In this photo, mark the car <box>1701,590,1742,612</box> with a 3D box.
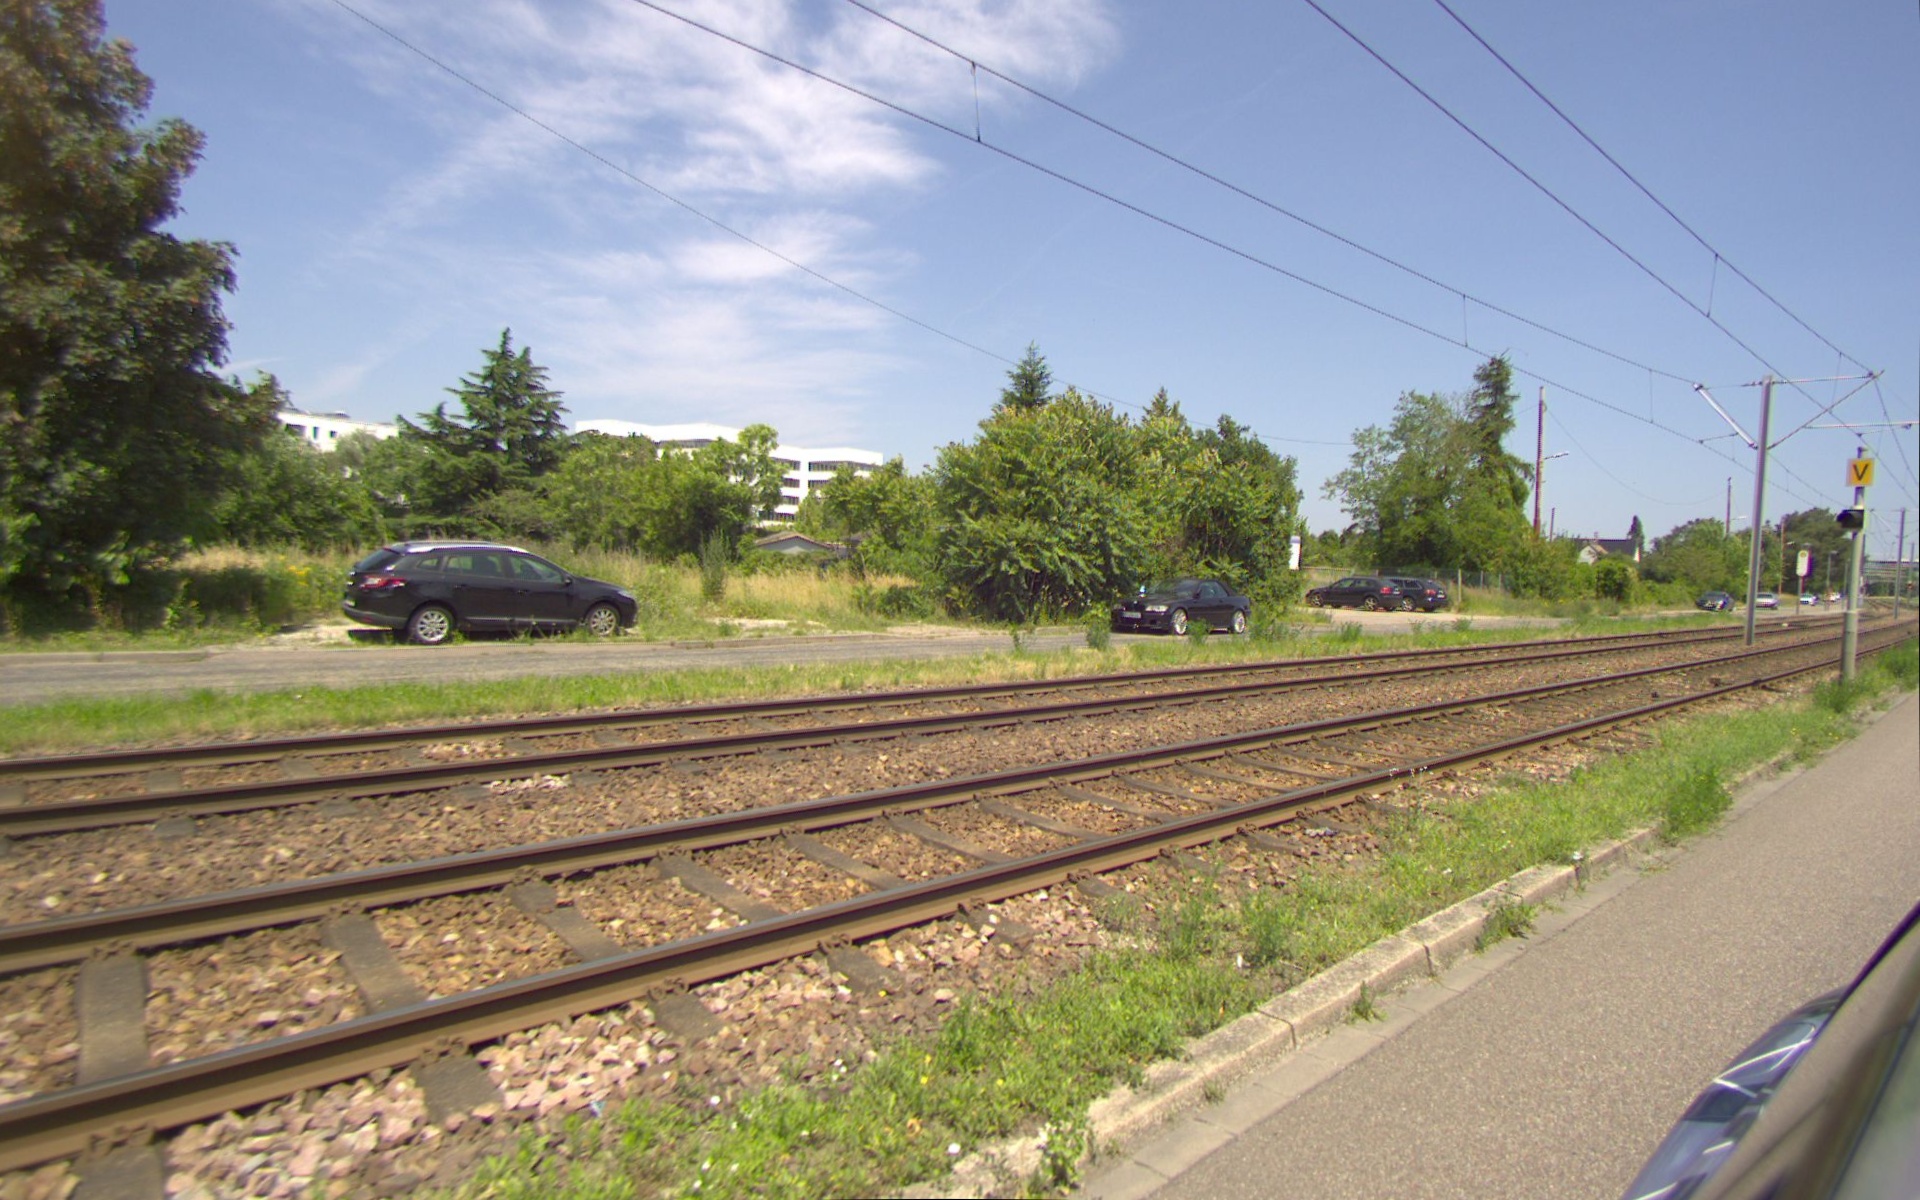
[{"bbox_3d":[54.616,0.069,72.584,4.793,1.439,1.621,0,2,-44],"label":"car"}]

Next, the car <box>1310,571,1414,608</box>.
[{"bbox_3d":[17.326,-0.469,43.725,1.866,1.436,3.735,0,2,-41],"label":"car"}]

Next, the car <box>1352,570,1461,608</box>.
[{"bbox_3d":[19.688,-0.495,44.768,1.863,1.536,4.000,0,2,-36],"label":"car"}]

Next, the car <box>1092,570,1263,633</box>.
[{"bbox_3d":[5.353,0.012,24.559,4.440,1.346,1.863,0,2,-44],"label":"car"}]

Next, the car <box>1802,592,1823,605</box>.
[{"bbox_3d":[105.563,-0.240,125.362,1.713,1.507,3.938,3,2,43],"label":"car"}]

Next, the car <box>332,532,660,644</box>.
[{"bbox_3d":[-7.430,-0.215,16.497,4.480,1.580,1.937,0,2,-44],"label":"car"}]

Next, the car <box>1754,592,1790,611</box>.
[{"bbox_3d":[68.159,0.103,84.922,1.940,1.439,3.935,3,2,45],"label":"car"}]
